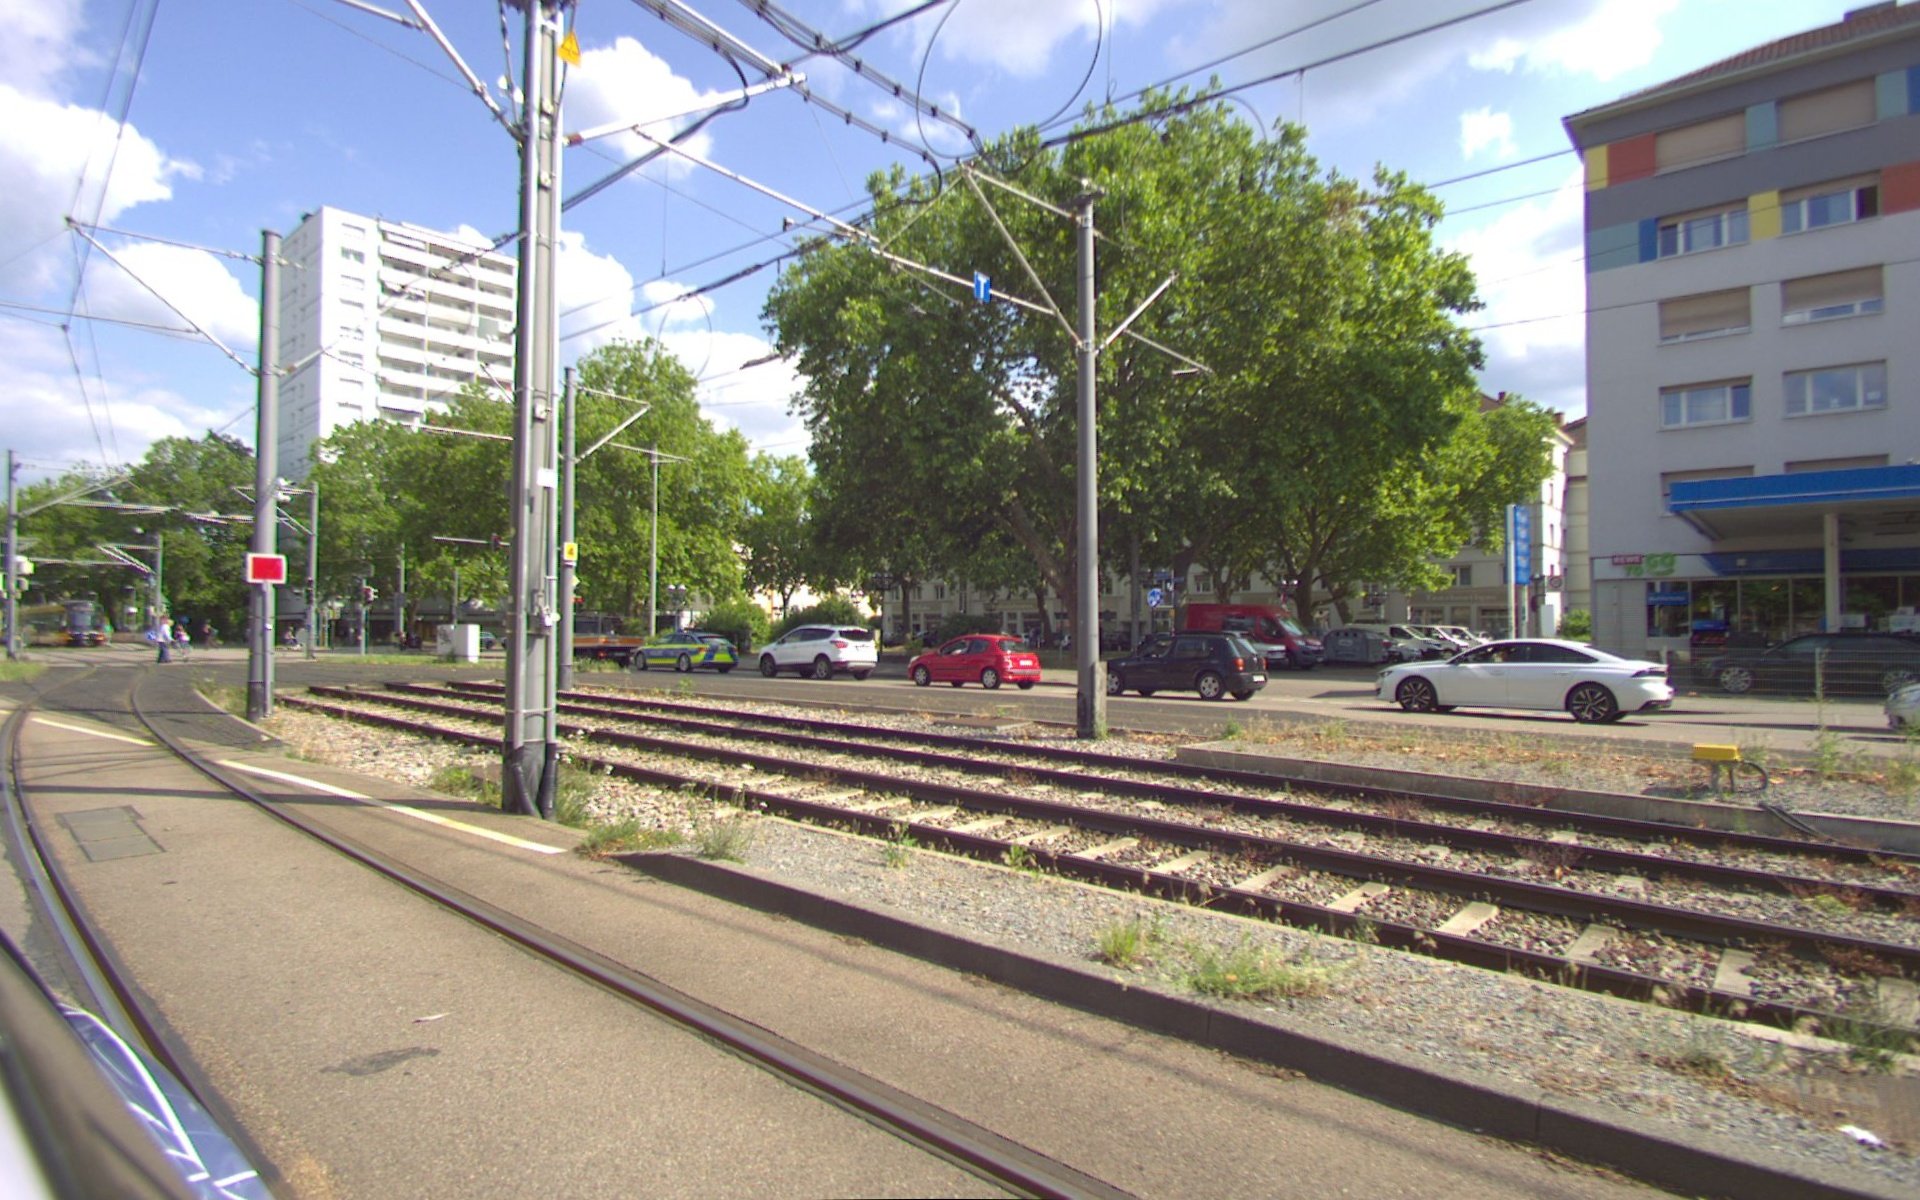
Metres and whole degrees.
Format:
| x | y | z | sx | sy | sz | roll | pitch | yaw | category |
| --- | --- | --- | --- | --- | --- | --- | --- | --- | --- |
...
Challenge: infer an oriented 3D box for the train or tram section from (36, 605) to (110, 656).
| x | y | z | sx | sy | sz | roll | pitch | yaw | category |
| --- | --- | --- | --- | --- | --- | --- | --- | --- | --- |
| -67.237 | 2.352 | 76.585 | 11.372 | 3.588 | 2.766 | -2 | -3 | 42 | train or tram section |

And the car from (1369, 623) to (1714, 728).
| x | y | z | sx | sy | sz | roll | pitch | yaw | category |
| --- | --- | --- | --- | --- | --- | --- | --- | --- | --- |
| 10.228 | 1.276 | 18.080 | 5.074 | 1.619 | 1.926 | -1 | -5 | 42 | car |

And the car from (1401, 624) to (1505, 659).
| x | y | z | sx | sy | sz | roll | pitch | yaw | category |
| --- | --- | --- | --- | --- | --- | --- | --- | --- | --- |
| 29.059 | 2.457 | 59.751 | 5.247 | 1.886 | 1.974 | -2 | -5 | 39 | car |

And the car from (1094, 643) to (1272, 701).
| x | y | z | sx | sy | sz | roll | pitch | yaw | category |
| --- | --- | --- | --- | --- | --- | --- | --- | --- | --- |
| 4.993 | 1.577 | 22.914 | 3.633 | 1.198 | 1.598 | -2 | -3 | 43 | car |

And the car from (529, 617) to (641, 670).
| x | y | z | sx | sy | sz | roll | pitch | yaw | category |
| --- | --- | --- | --- | --- | --- | --- | --- | --- | --- |
| -15.504 | 1.830 | 41.713 | 5.333 | 2.002 | 2.053 | -4 | -4 | 41 | car |

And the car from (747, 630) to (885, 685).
| x | y | z | sx | sy | sz | roll | pitch | yaw | category |
| --- | --- | --- | --- | --- | --- | --- | --- | --- | --- |
| -4.617 | 1.780 | 31.990 | 4.677 | 1.619 | 1.741 | -3 | -3 | 41 | car |

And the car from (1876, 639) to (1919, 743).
| x | y | z | sx | sy | sz | roll | pitch | yaw | category |
| --- | --- | --- | --- | --- | --- | --- | --- | --- | --- |
| 15.157 | 1.242 | 13.429 | 4.405 | 1.427 | 1.703 | -2 | -4 | 43 | car |

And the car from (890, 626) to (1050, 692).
| x | y | z | sx | sy | sz | roll | pitch | yaw | category |
| --- | --- | --- | --- | --- | --- | --- | --- | --- | --- |
| 0.204 | 1.591 | 26.952 | 4.142 | 1.619 | 1.694 | -4 | -4 | 41 | car |

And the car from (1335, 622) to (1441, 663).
| x | y | z | sx | sy | sz | roll | pitch | yaw | category |
| --- | --- | --- | --- | --- | --- | --- | --- | --- | --- |
| 22.077 | 2.204 | 52.279 | 4.679 | 1.949 | 1.973 | -2 | -5 | 41 | car |

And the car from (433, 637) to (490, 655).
| x | y | z | sx | sy | sz | roll | pitch | yaw | category |
| --- | --- | --- | --- | --- | --- | --- | --- | --- | --- |
| -41.152 | 3.800 | 83.678 | 1.850 | 1.501 | 3.967 | -1 | -2 | 24 | car |

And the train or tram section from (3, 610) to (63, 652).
| x | y | z | sx | sy | sz | roll | pitch | yaw | category |
| --- | --- | --- | --- | --- | --- | --- | --- | --- | --- |
| -84.277 | 2.800 | 91.896 | 12.152 | 3.588 | 2.776 | -2 | -3 | 42 | train or tram section |

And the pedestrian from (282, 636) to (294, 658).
| x | y | z | sx | sy | sz | roll | pitch | yaw | category |
| --- | --- | --- | --- | --- | --- | --- | --- | --- | --- |
| -51.848 | 3.615 | 78.083 | 0.648 | 1.716 | 0.662 | -2 | -3 | 44 | pedestrian |

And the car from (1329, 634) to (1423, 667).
| x | y | z | sx | sy | sz | roll | pitch | yaw | category |
| --- | --- | --- | --- | --- | --- | --- | --- | --- | --- |
| 20.629 | 2.487 | 50.239 | 3.997 | 1.532 | 1.641 | -2 | -5 | 41 | car |

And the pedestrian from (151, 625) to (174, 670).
| x | y | z | sx | sy | sz | roll | pitch | yaw | category |
| --- | --- | --- | --- | --- | --- | --- | --- | --- | --- |
| -30.919 | 1.840 | 39.240 | 0.556 | 1.746 | 0.521 | -2 | -3 | 36 | pedestrian |

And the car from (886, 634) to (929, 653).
| x | y | z | sx | sy | sz | roll | pitch | yaw | category |
| --- | --- | --- | --- | --- | --- | --- | --- | --- | --- |
| -4.819 | 3.978 | 93.189 | 1.849 | 1.672 | 4.031 | -2 | -2 | 38 | car |

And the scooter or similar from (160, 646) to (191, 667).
| x | y | z | sx | sy | sz | roll | pitch | yaw | category |
| --- | --- | --- | --- | --- | --- | --- | --- | --- | --- |
| -30.659 | 2.209 | 39.576 | 0.553 | 0.810 | 0.830 | -2 | -3 | 37 | scooter or similar |

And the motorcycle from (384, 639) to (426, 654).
| x | y | z | sx | sy | sz | roll | pitch | yaw | category |
| --- | --- | --- | --- | --- | --- | --- | --- | --- | --- |
| -38.911 | 3.253 | 70.983 | 2.467 | 0.984 | 0.699 | 2 | -3 | -43 | motorcycle |

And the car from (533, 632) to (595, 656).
| x | y | z | sx | sy | sz | roll | pitch | yaw | category |
| --- | --- | --- | --- | --- | --- | --- | --- | --- | --- |
| -33.438 | 3.691 | 85.568 | 1.986 | 1.906 | 5.135 | -1 | -2 | 21 | car |

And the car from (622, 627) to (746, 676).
| x | y | z | sx | sy | sz | roll | pitch | yaw | category |
| --- | --- | --- | --- | --- | --- | --- | --- | --- | --- |
| -10.168 | 1.889 | 37.041 | 5.152 | 1.665 | 1.847 | -2 | -5 | 42 | car |

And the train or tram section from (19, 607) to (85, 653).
| x | y | z | sx | sy | sz | roll | pitch | yaw | category |
| --- | --- | --- | --- | --- | --- | --- | --- | --- | --- |
| -75.581 | 2.532 | 84.113 | 11.177 | 3.588 | 2.776 | -2 | -3 | 42 | train or tram section |

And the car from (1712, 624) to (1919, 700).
| x | y | z | sx | sy | sz | roll | pitch | yaw | category |
| --- | --- | --- | --- | --- | --- | --- | --- | --- | --- |
| 19.873 | 1.423 | 23.347 | 3.873 | 1.619 | 1.882 | -4 | -4 | 41 | car |

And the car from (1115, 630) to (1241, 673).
| x | y | z | sx | sy | sz | roll | pitch | yaw | category |
| --- | --- | --- | --- | --- | --- | --- | --- | --- | --- |
| 7.634 | 1.803 | 35.591 | 3.997 | 1.421 | 1.734 | -2 | -3 | 41 | car |

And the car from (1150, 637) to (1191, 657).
| x | y | z | sx | sy | sz | roll | pitch | yaw | category |
| --- | --- | --- | --- | --- | --- | --- | --- | --- | --- |
| 18.065 | 4.023 | 86.909 | 1.849 | 1.672 | 4.030 | -2 | -2 | 39 | car |

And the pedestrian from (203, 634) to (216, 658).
| x | y | z | sx | sy | sz | roll | pitch | yaw | category |
| --- | --- | --- | --- | --- | --- | --- | --- | --- | --- |
| -53.528 | 3.299 | 72.189 | 0.648 | 1.716 | 0.662 | -2 | -3 | 44 | pedestrian |

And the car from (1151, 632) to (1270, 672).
| x | y | z | sx | sy | sz | roll | pitch | yaw | category |
| --- | --- | --- | --- | --- | --- | --- | --- | --- | --- |
| 9.297 | 1.920 | 37.715 | 3.997 | 1.421 | 1.734 | -2 | -3 | 41 | car |

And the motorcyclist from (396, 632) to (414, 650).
| x | y | z | sx | sy | sz | roll | pitch | yaw | category |
| --- | --- | --- | --- | --- | --- | --- | --- | --- | --- |
| -38.921 | 2.855 | 70.988 | 0.962 | 1.227 | 0.699 | 2 | -3 | -42 | motorcyclist |

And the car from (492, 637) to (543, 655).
| x | y | z | sx | sy | sz | roll | pitch | yaw | category |
| --- | --- | --- | --- | --- | --- | --- | --- | --- | --- |
| -39.238 | 4.074 | 89.794 | 1.847 | 1.501 | 4.049 | -1 | -2 | 20 | car |

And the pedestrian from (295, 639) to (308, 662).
| x | y | z | sx | sy | sz | roll | pitch | yaw | category |
| --- | --- | --- | --- | --- | --- | --- | --- | --- | --- |
| -50.044 | 3.854 | 76.949 | 0.648 | 1.716 | 0.662 | -2 | -3 | 44 | pedestrian |

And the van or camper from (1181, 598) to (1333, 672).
| x | y | z | sx | sy | sz | roll | pitch | yaw | category |
| --- | --- | --- | --- | --- | --- | --- | --- | --- | --- |
| 11.522 | 1.402 | 39.522 | 5.349 | 2.662 | 2.079 | -2 | -5 | 43 | van or camper |

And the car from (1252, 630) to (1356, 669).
| x | y | z | sx | sy | sz | roll | pitch | yaw | category |
| --- | --- | --- | --- | --- | --- | --- | --- | --- | --- |
| 14.846 | 2.143 | 43.825 | 3.997 | 1.616 | 1.510 | -2 | -4 | 41 | car |

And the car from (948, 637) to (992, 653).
| x | y | z | sx | sy | sz | roll | pitch | yaw | category |
| --- | --- | --- | --- | --- | --- | --- | --- | --- | --- |
| 0.881 | 3.910 | 87.859 | 1.865 | 1.364 | 3.895 | -2 | -3 | 36 | car |

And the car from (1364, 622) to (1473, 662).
| x | y | z | sx | sy | sz | roll | pitch | yaw | category |
| --- | --- | --- | --- | --- | --- | --- | --- | --- | --- |
| 25.439 | 2.346 | 56.218 | 5.244 | 2.102 | 1.975 | -2 | -5 | 37 | car |

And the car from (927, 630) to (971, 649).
| x | y | z | sx | sy | sz | roll | pitch | yaw | category |
| --- | --- | --- | --- | --- | --- | --- | --- | --- | --- |
| -0.962 | 3.503 | 90.056 | 1.996 | 1.697 | 3.951 | -2 | -3 | 36 | car |
